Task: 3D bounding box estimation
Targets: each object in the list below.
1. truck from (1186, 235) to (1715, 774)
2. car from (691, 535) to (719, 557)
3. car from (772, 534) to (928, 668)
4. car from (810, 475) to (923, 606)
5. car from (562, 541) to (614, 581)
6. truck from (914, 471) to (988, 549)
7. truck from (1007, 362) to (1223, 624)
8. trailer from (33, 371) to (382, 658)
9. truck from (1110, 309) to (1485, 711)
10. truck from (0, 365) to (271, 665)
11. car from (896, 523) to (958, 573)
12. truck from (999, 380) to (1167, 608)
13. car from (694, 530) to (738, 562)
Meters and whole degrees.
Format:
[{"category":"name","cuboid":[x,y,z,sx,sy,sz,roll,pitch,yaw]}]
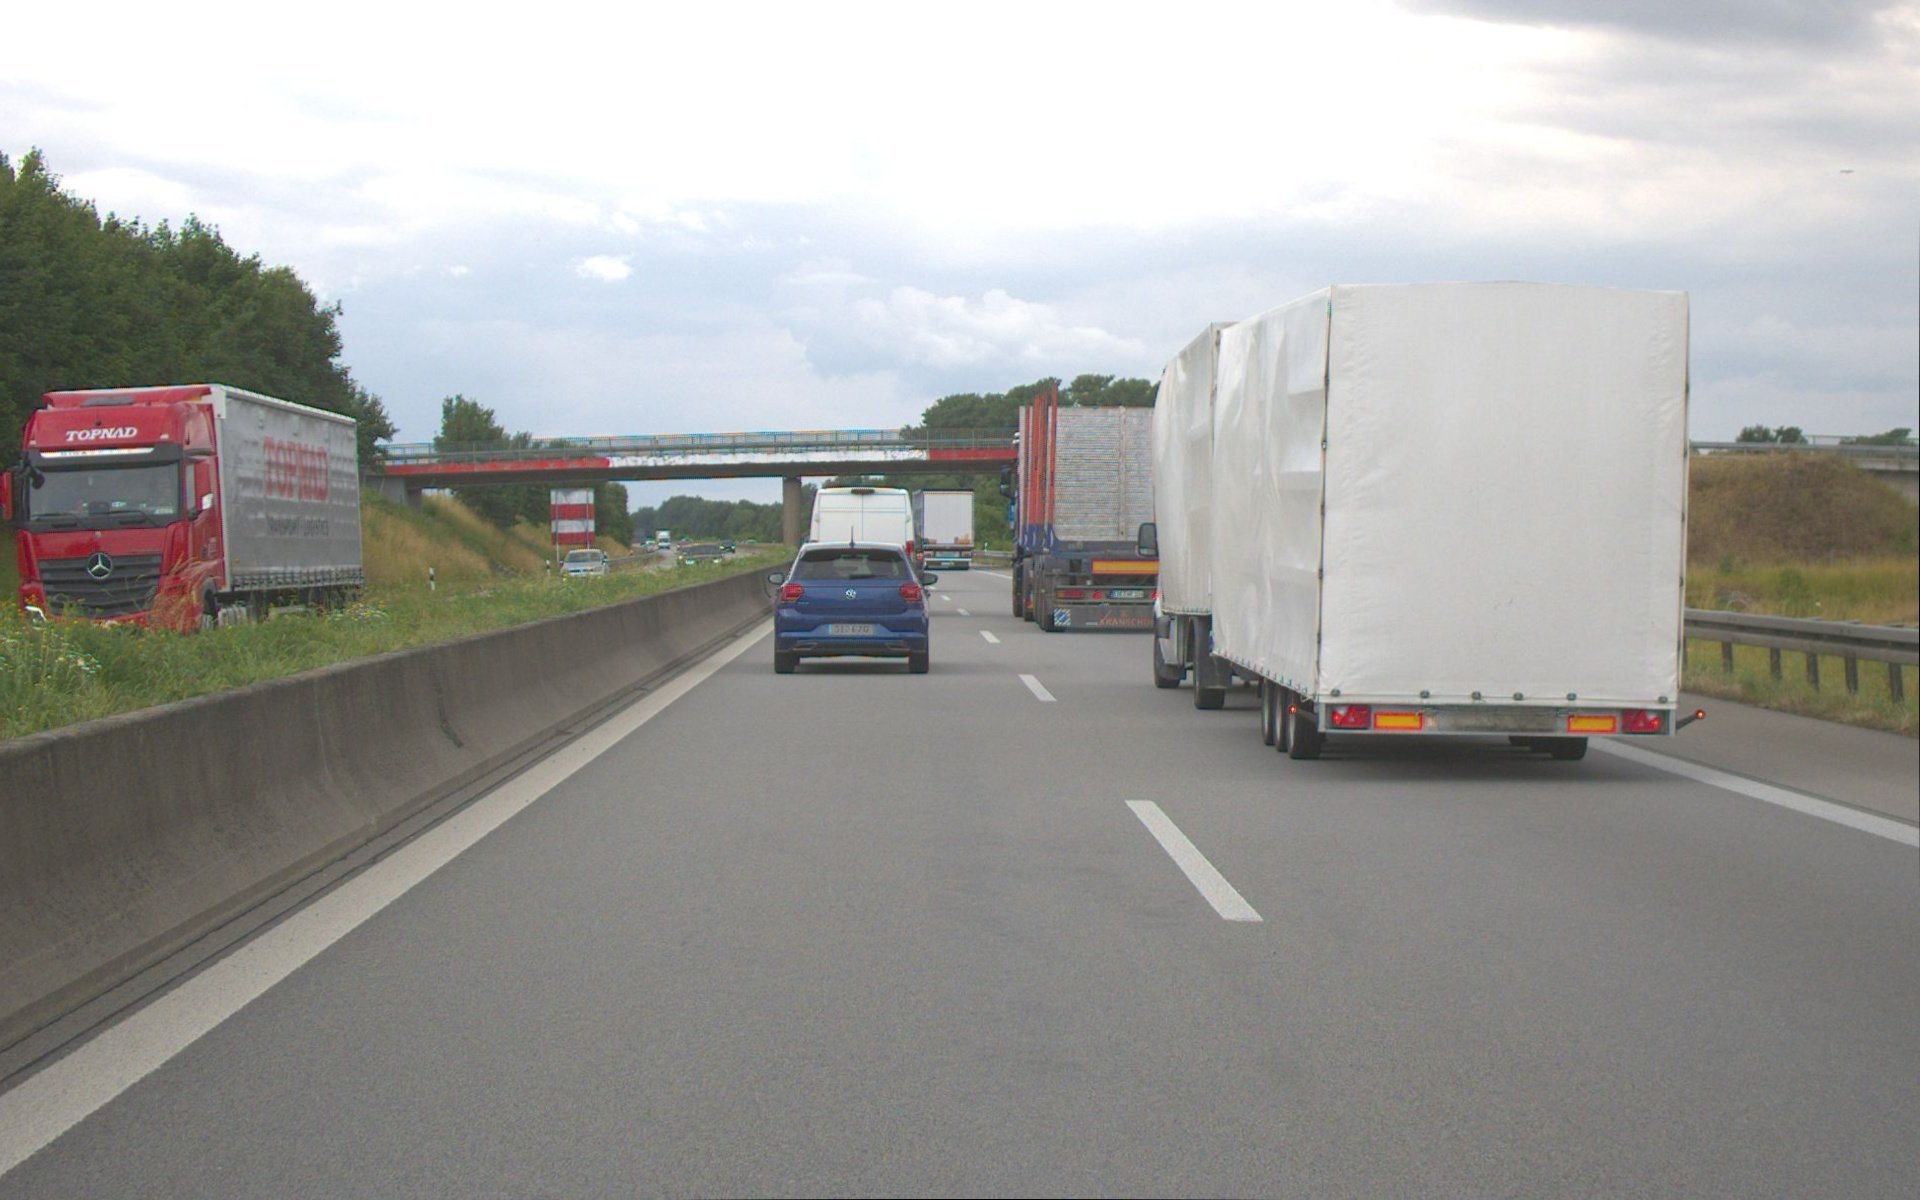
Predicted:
[{"category":"truck","cuboid":[3.167,-0.644,24.102,2.415,3.211,7.144,0,1,-2]},{"category":"car","cuboid":[-17.406,-3.698,234.868,1.646,1.373,4.235,-3,1,-1]},{"category":"car","cuboid":[-1.228,-0.026,38.718,1.663,1.402,3.649,0,2,-2]},{"category":"car","cuboid":[-1.863,-1.202,68.510,2.130,2.474,5.840,-1,1,-1]},{"category":"car","cuboid":[-14.138,-1.498,130.702,1.646,1.404,3.888,-3,1,-2]},{"category":"truck","cuboid":[-0.510,-4.487,172.528,3.110,3.677,9.324,-3,1,-3]},{"category":"truck","cuboid":[2.483,-1.823,58.849,2.673,4.031,11.109,-1,2,-2]},{"category":"trailer","cuboid":[-12.225,-1.453,57.556,2.706,4.074,14.599,-3,2,-1]},{"category":"truck","cuboid":[2.878,-0.802,31.315,2.429,3.232,7.248,0,1,-2]},{"category":"truck","cuboid":[-12.086,-1.257,50.694,2.706,4.074,5.165,-3,2,-1]},{"category":"car","cuboid":[-0.957,-1.499,98.067,1.663,1.402,3.649,0,2,-2]},{"category":"truck","cuboid":[2.233,-1.982,64.237,2.673,4.031,5.513,-1,2,-2]},{"category":"car","cuboid":[-11.669,-2.595,164.621,1.848,1.373,4.601,-3,1,-1]}]
